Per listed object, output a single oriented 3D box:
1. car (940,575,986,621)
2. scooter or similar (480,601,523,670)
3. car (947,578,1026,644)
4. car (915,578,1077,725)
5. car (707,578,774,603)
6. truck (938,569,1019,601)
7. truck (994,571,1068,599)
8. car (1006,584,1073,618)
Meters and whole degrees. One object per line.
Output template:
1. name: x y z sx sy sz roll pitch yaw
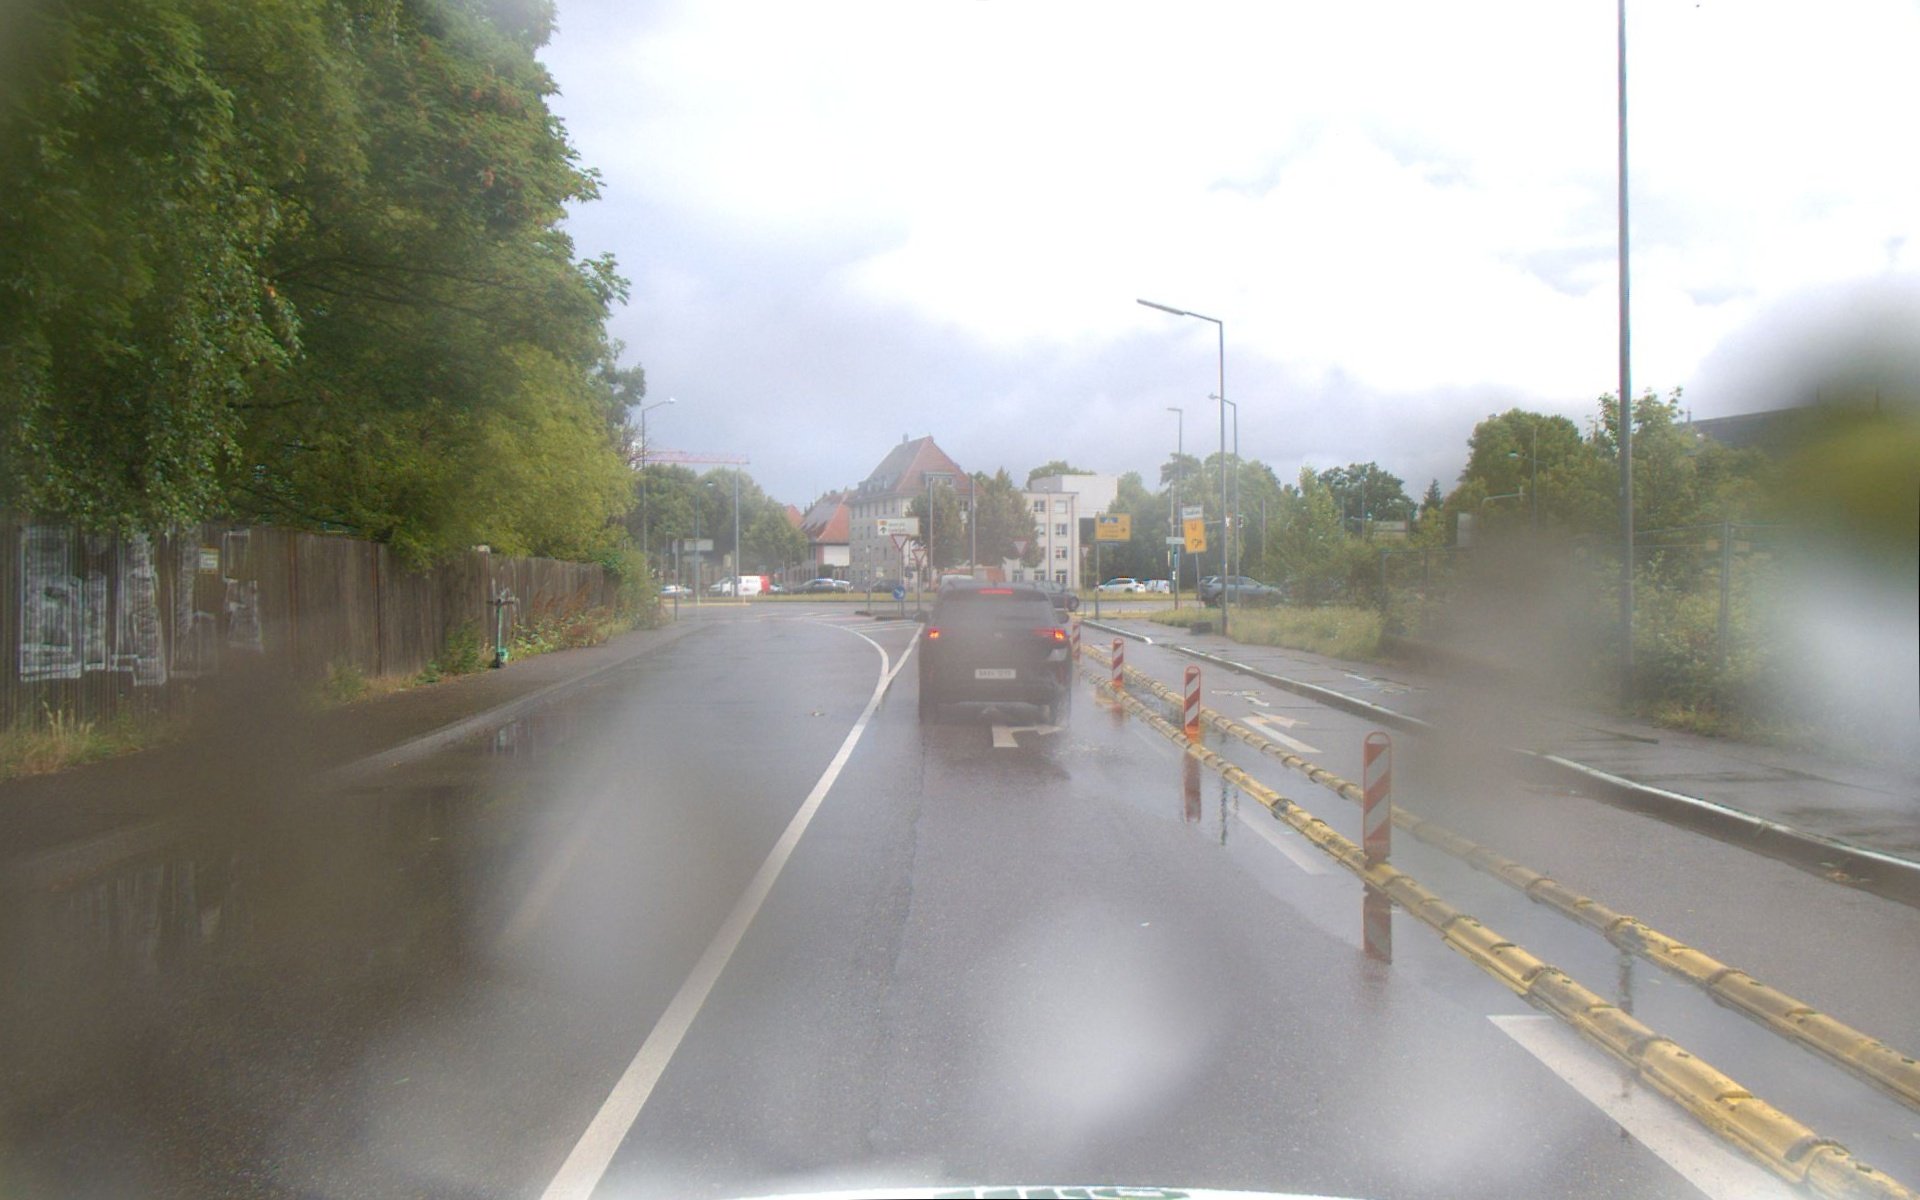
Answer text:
1. car: 0.147 -0.099 68.790 1.826 1.841 4.404 0 1 1
2. scooter or similar: -8.116 0.610 29.299 0.551 1.183 1.206 0 0 -8
3. car: 0.605 0.237 40.077 1.700 1.540 3.602 0 1 -2
4. car: 0.347 0.567 20.042 1.674 1.601 3.680 1 0 -3
5. car: -17.699 -0.785 133.506 5.080 1.909 1.868 -1 1 -38
6. truck: 1.622 -1.284 141.904 6.920 2.696 2.330 0 0 1
7. truck: 6.464 -1.355 149.980 6.559 2.485 2.436 0 0 8
8. car: 4.041 0.025 83.474 1.636 1.673 3.942 0 1 34
